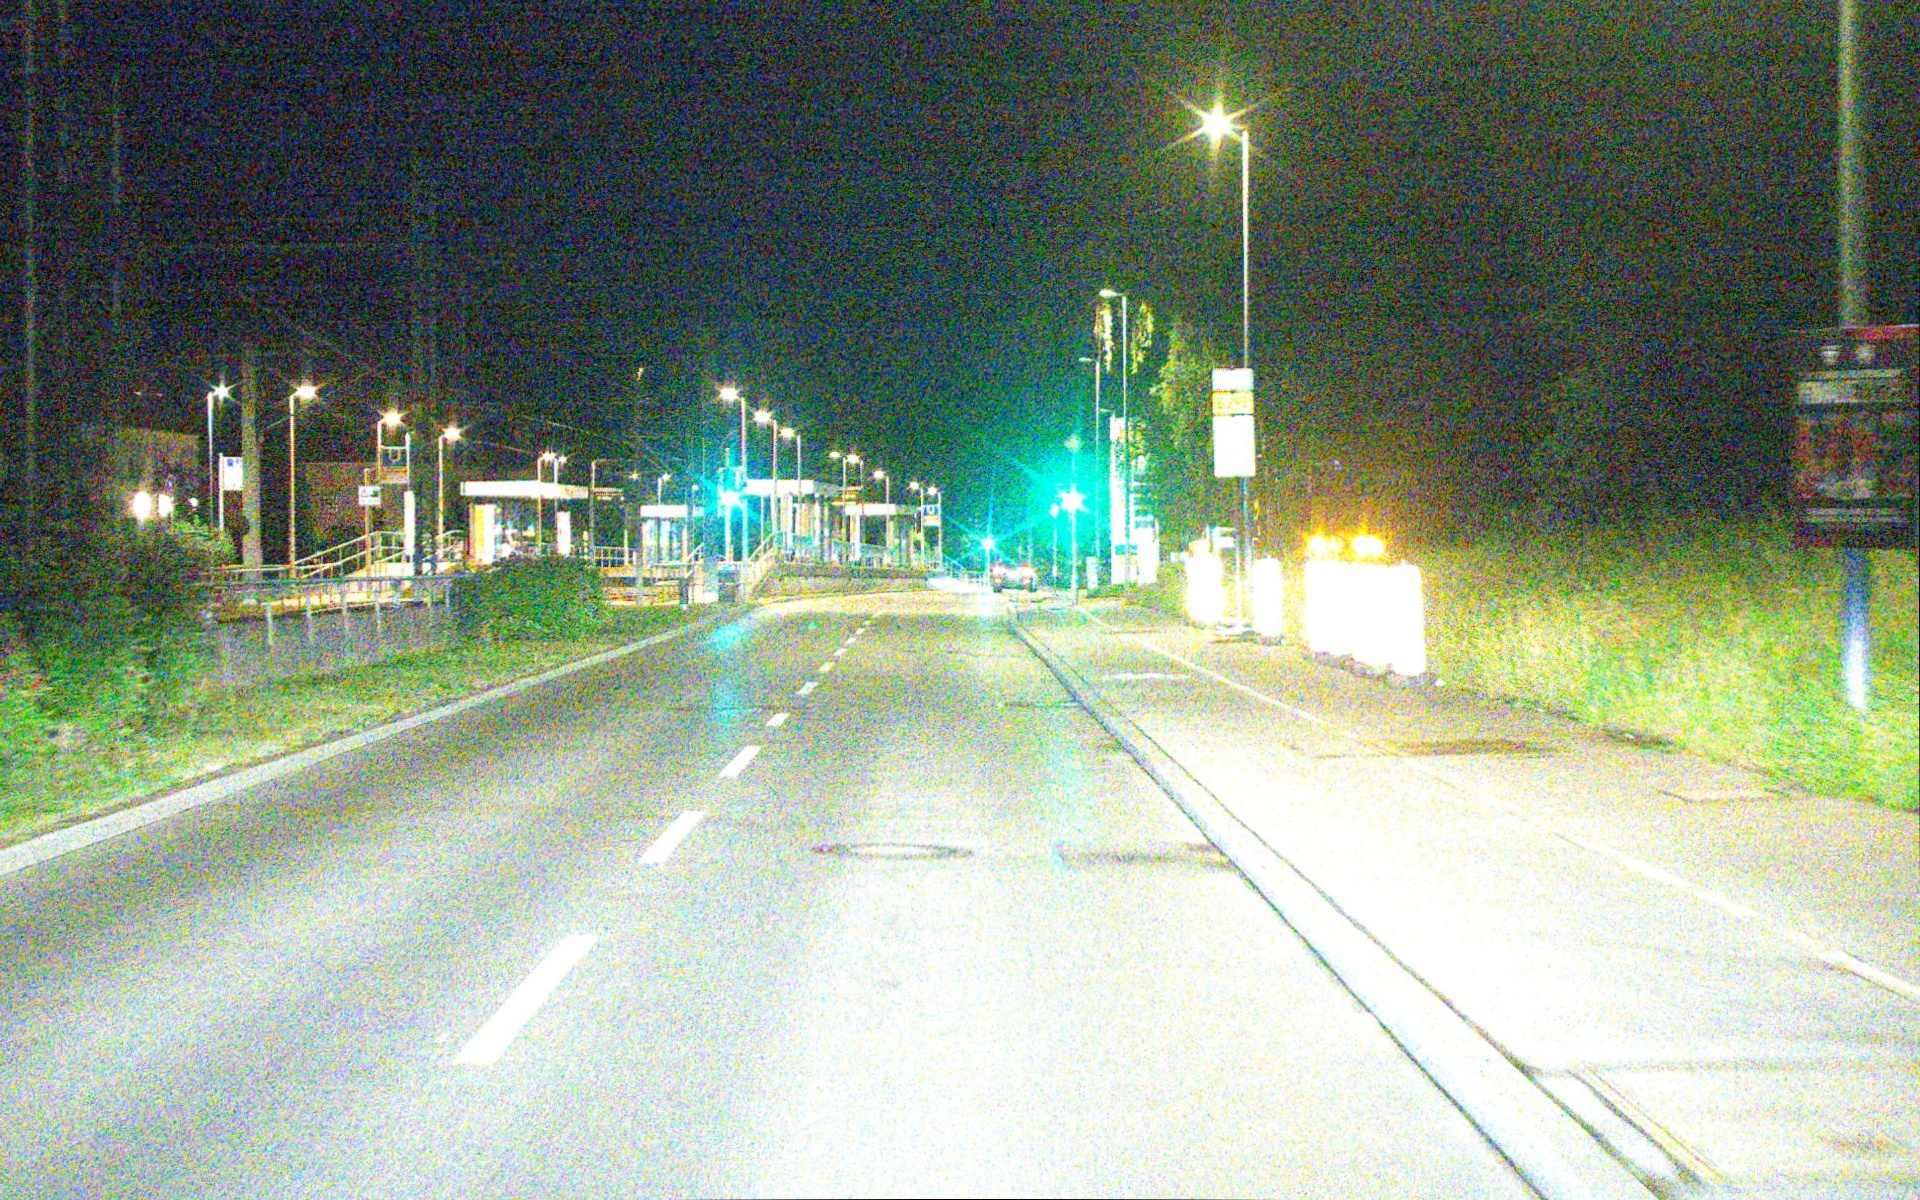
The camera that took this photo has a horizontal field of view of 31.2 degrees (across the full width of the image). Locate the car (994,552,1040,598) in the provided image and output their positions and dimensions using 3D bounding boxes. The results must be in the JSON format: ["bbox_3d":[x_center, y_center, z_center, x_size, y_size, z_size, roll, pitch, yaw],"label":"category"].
[{"bbox_3d":[2.583,-1.147,156.101,2.087,2.007,4.000,0,1,1],"label":"car"}]
